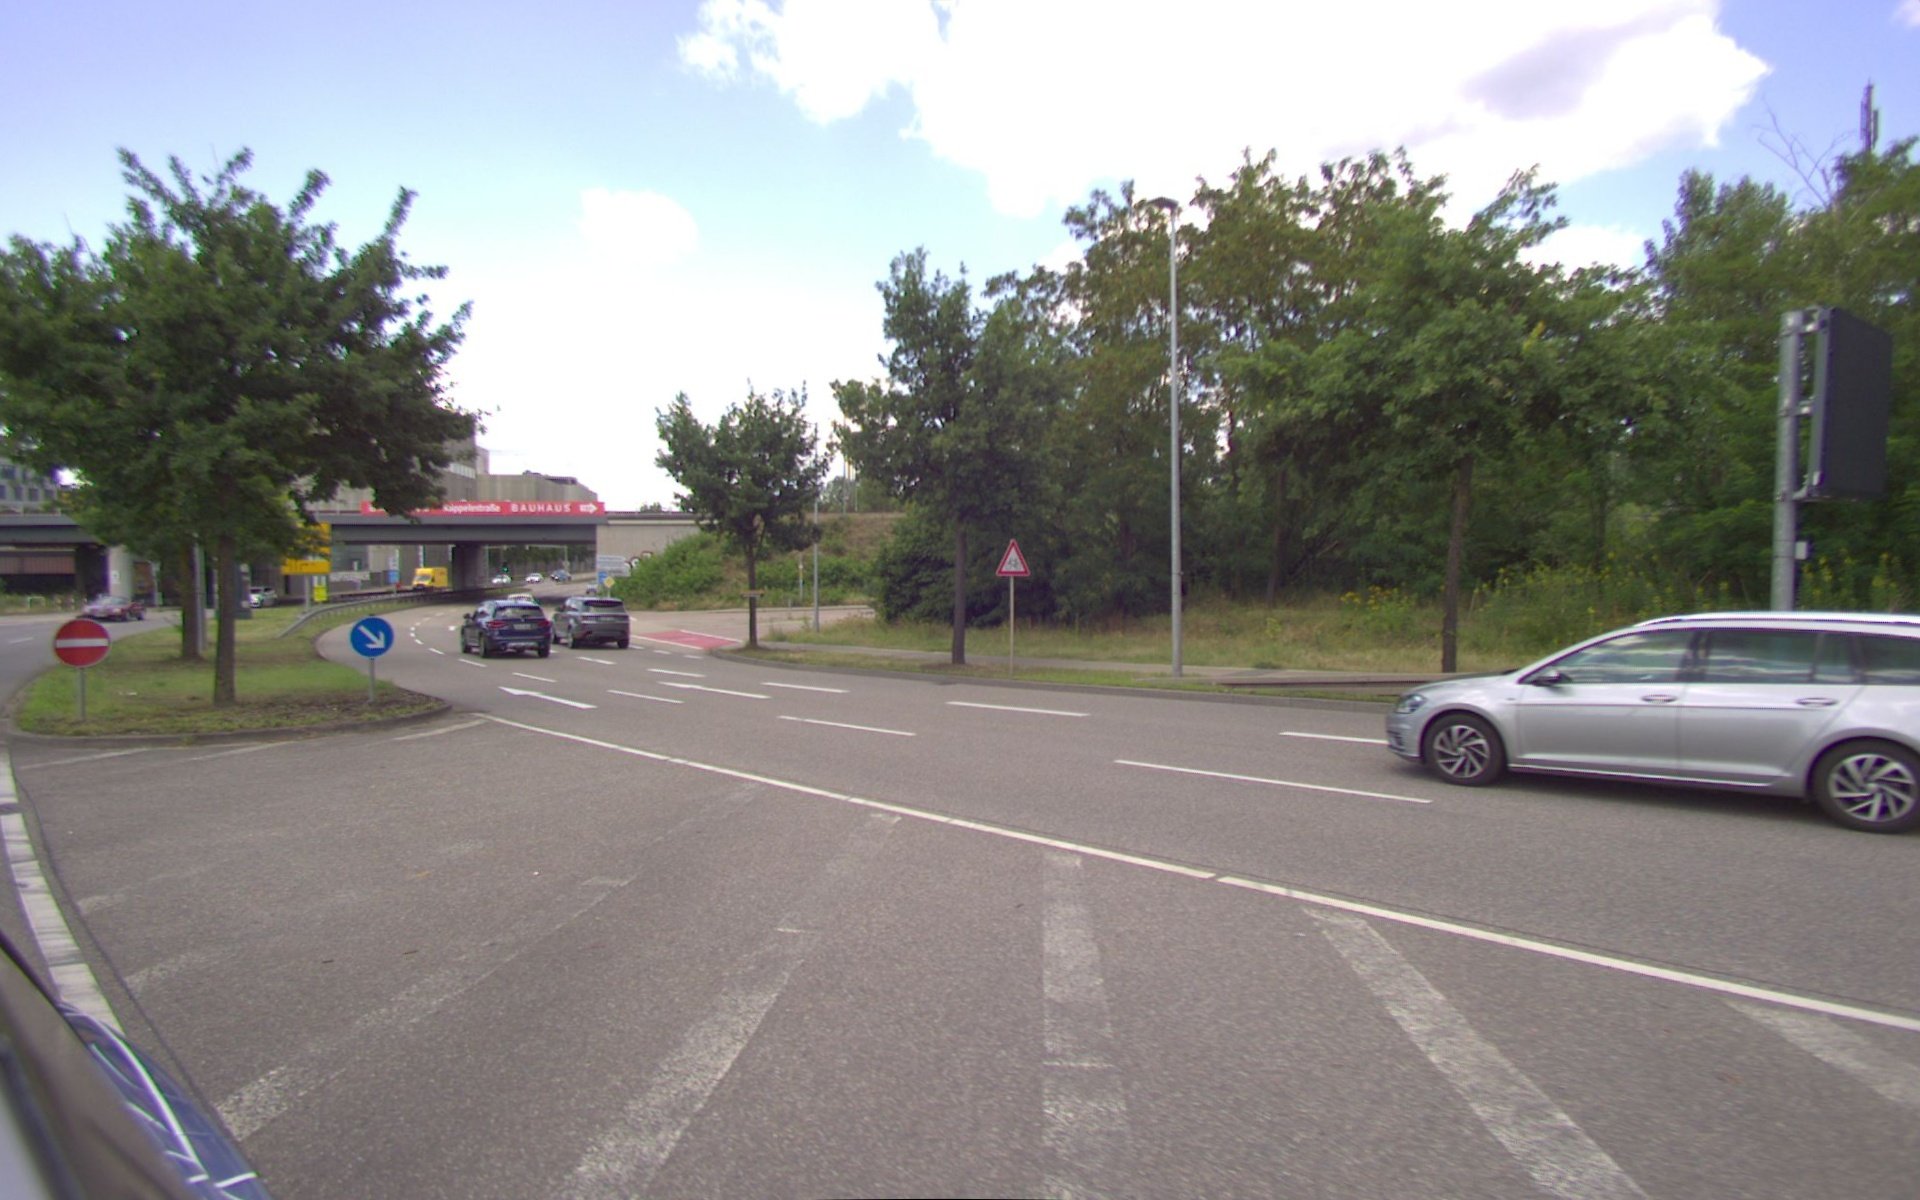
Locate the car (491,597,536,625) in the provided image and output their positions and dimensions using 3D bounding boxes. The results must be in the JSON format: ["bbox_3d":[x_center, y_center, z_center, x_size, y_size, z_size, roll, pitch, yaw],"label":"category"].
[{"bbox_3d":[-26.447,0.634,59.836,1.966,1.543,4.345,1,0,-30],"label":"car"}]

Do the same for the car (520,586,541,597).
[{"bbox_3d":[-64.251,-1.315,151.481,1.890,1.425,4.306,-5,3,-12],"label":"car"}]

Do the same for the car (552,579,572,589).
[{"bbox_3d":[-61.966,-2.462,157.627,1.967,1.425,4.844,-2,2,-12],"label":"car"}]

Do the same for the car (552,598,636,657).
[{"bbox_3d":[-13.048,0.895,35.918,1.966,1.875,4.729,-1,1,-30],"label":"car"}]

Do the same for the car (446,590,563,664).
[{"bbox_3d":[-13.763,0.798,30.415,1.969,2.029,4.825,-2,0,-40],"label":"car"}]

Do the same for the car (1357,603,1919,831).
[{"bbox_3d":[5.861,0.762,7.955,1.971,1.407,4.702,-1,0,-44],"label":"car"}]

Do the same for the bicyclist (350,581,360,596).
[{"bbox_3d":[-70.803,-1.328,118.423,0.705,1.782,0.991,0,2,-15],"label":"bicyclist"}]

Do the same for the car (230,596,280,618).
[{"bbox_3d":[-52.358,0.509,75.235,1.686,1.507,3.660,0,2,-12],"label":"car"}]

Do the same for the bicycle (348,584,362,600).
[{"bbox_3d":[-70.846,-0.999,118.589,0.710,1.787,2.541,0,2,-15],"label":"bicycle"}]
